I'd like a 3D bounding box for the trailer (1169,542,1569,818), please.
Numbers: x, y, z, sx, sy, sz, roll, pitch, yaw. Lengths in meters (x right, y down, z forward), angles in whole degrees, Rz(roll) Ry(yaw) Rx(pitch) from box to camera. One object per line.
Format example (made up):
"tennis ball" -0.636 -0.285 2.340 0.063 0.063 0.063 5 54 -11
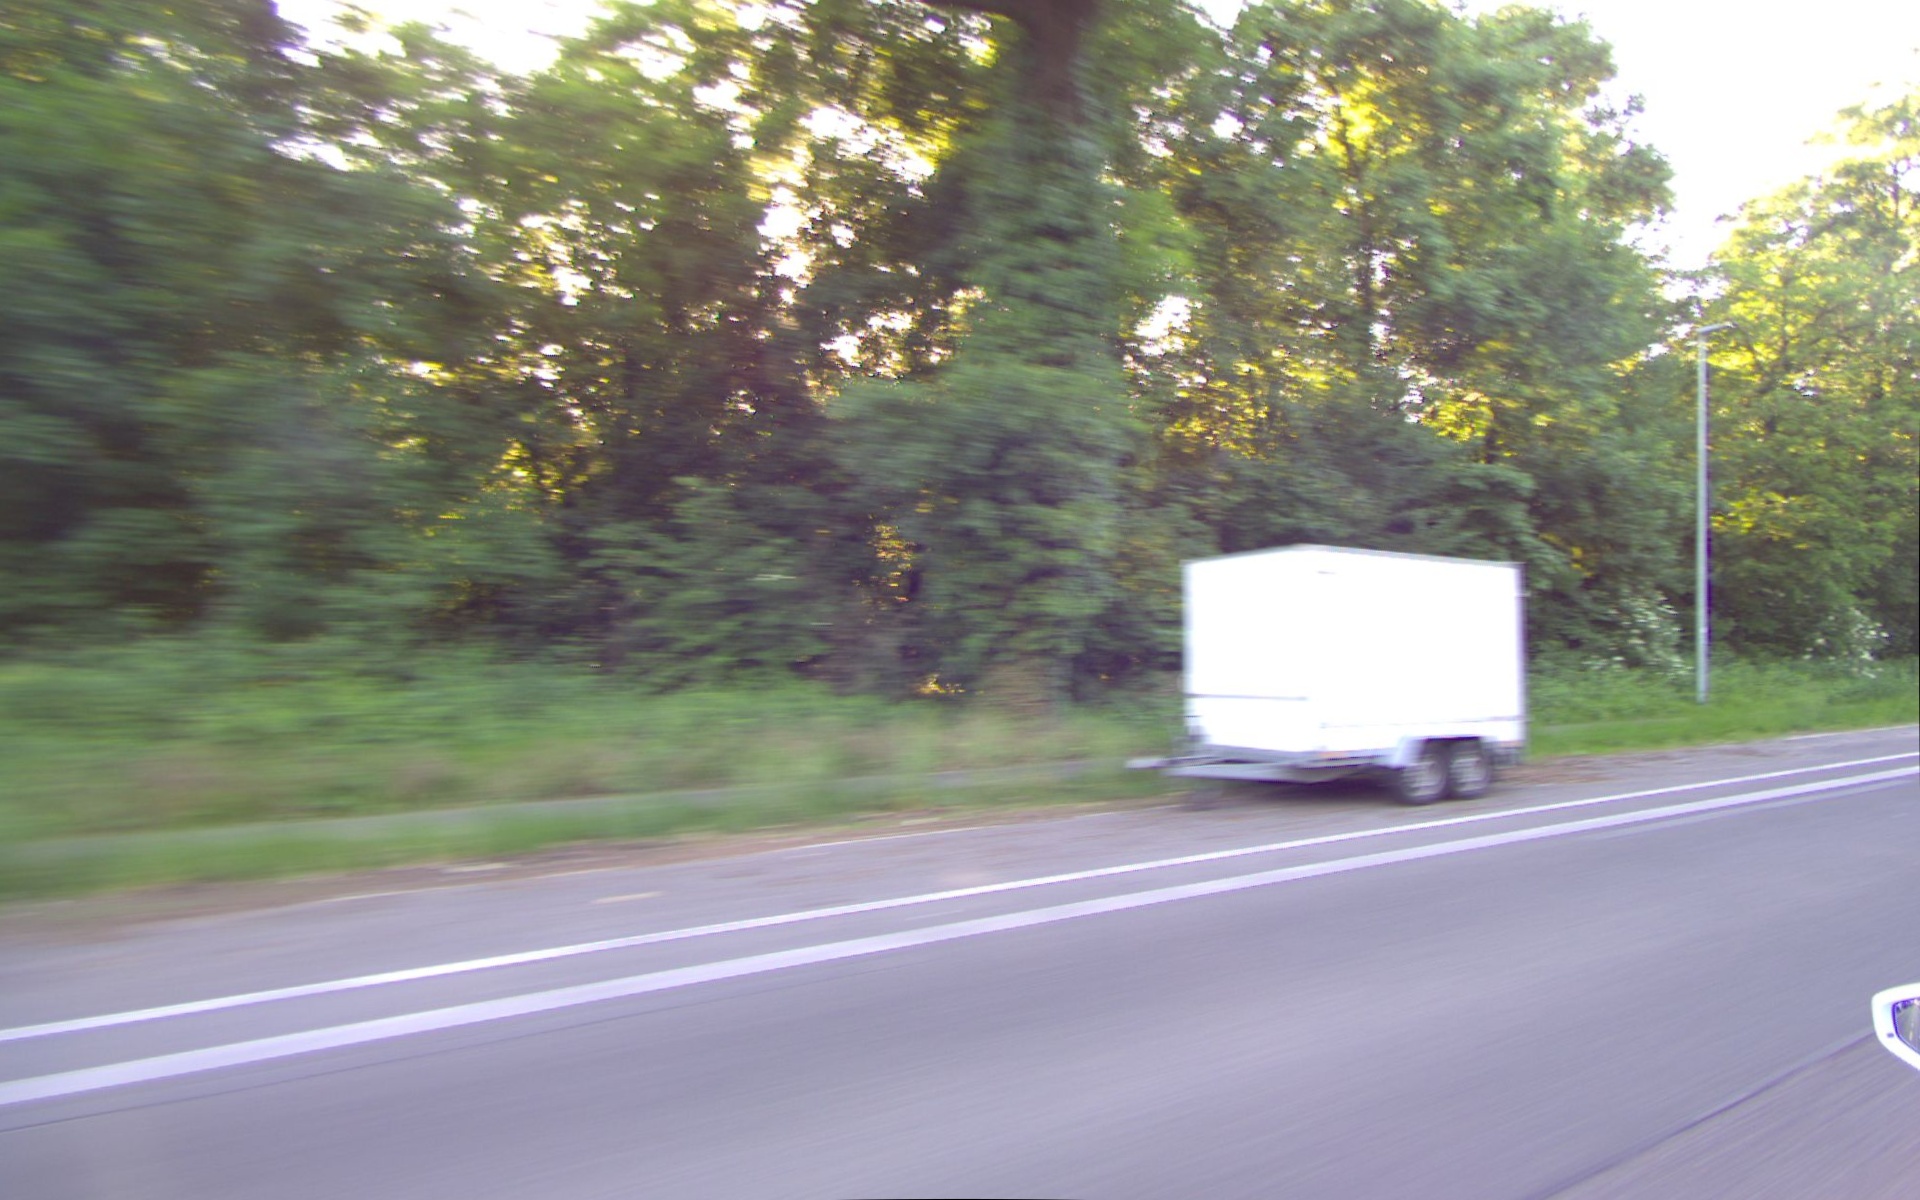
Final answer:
"trailer" 4.138 0.745 10.227 3.443 2.323 2.067 1 -2 -28
